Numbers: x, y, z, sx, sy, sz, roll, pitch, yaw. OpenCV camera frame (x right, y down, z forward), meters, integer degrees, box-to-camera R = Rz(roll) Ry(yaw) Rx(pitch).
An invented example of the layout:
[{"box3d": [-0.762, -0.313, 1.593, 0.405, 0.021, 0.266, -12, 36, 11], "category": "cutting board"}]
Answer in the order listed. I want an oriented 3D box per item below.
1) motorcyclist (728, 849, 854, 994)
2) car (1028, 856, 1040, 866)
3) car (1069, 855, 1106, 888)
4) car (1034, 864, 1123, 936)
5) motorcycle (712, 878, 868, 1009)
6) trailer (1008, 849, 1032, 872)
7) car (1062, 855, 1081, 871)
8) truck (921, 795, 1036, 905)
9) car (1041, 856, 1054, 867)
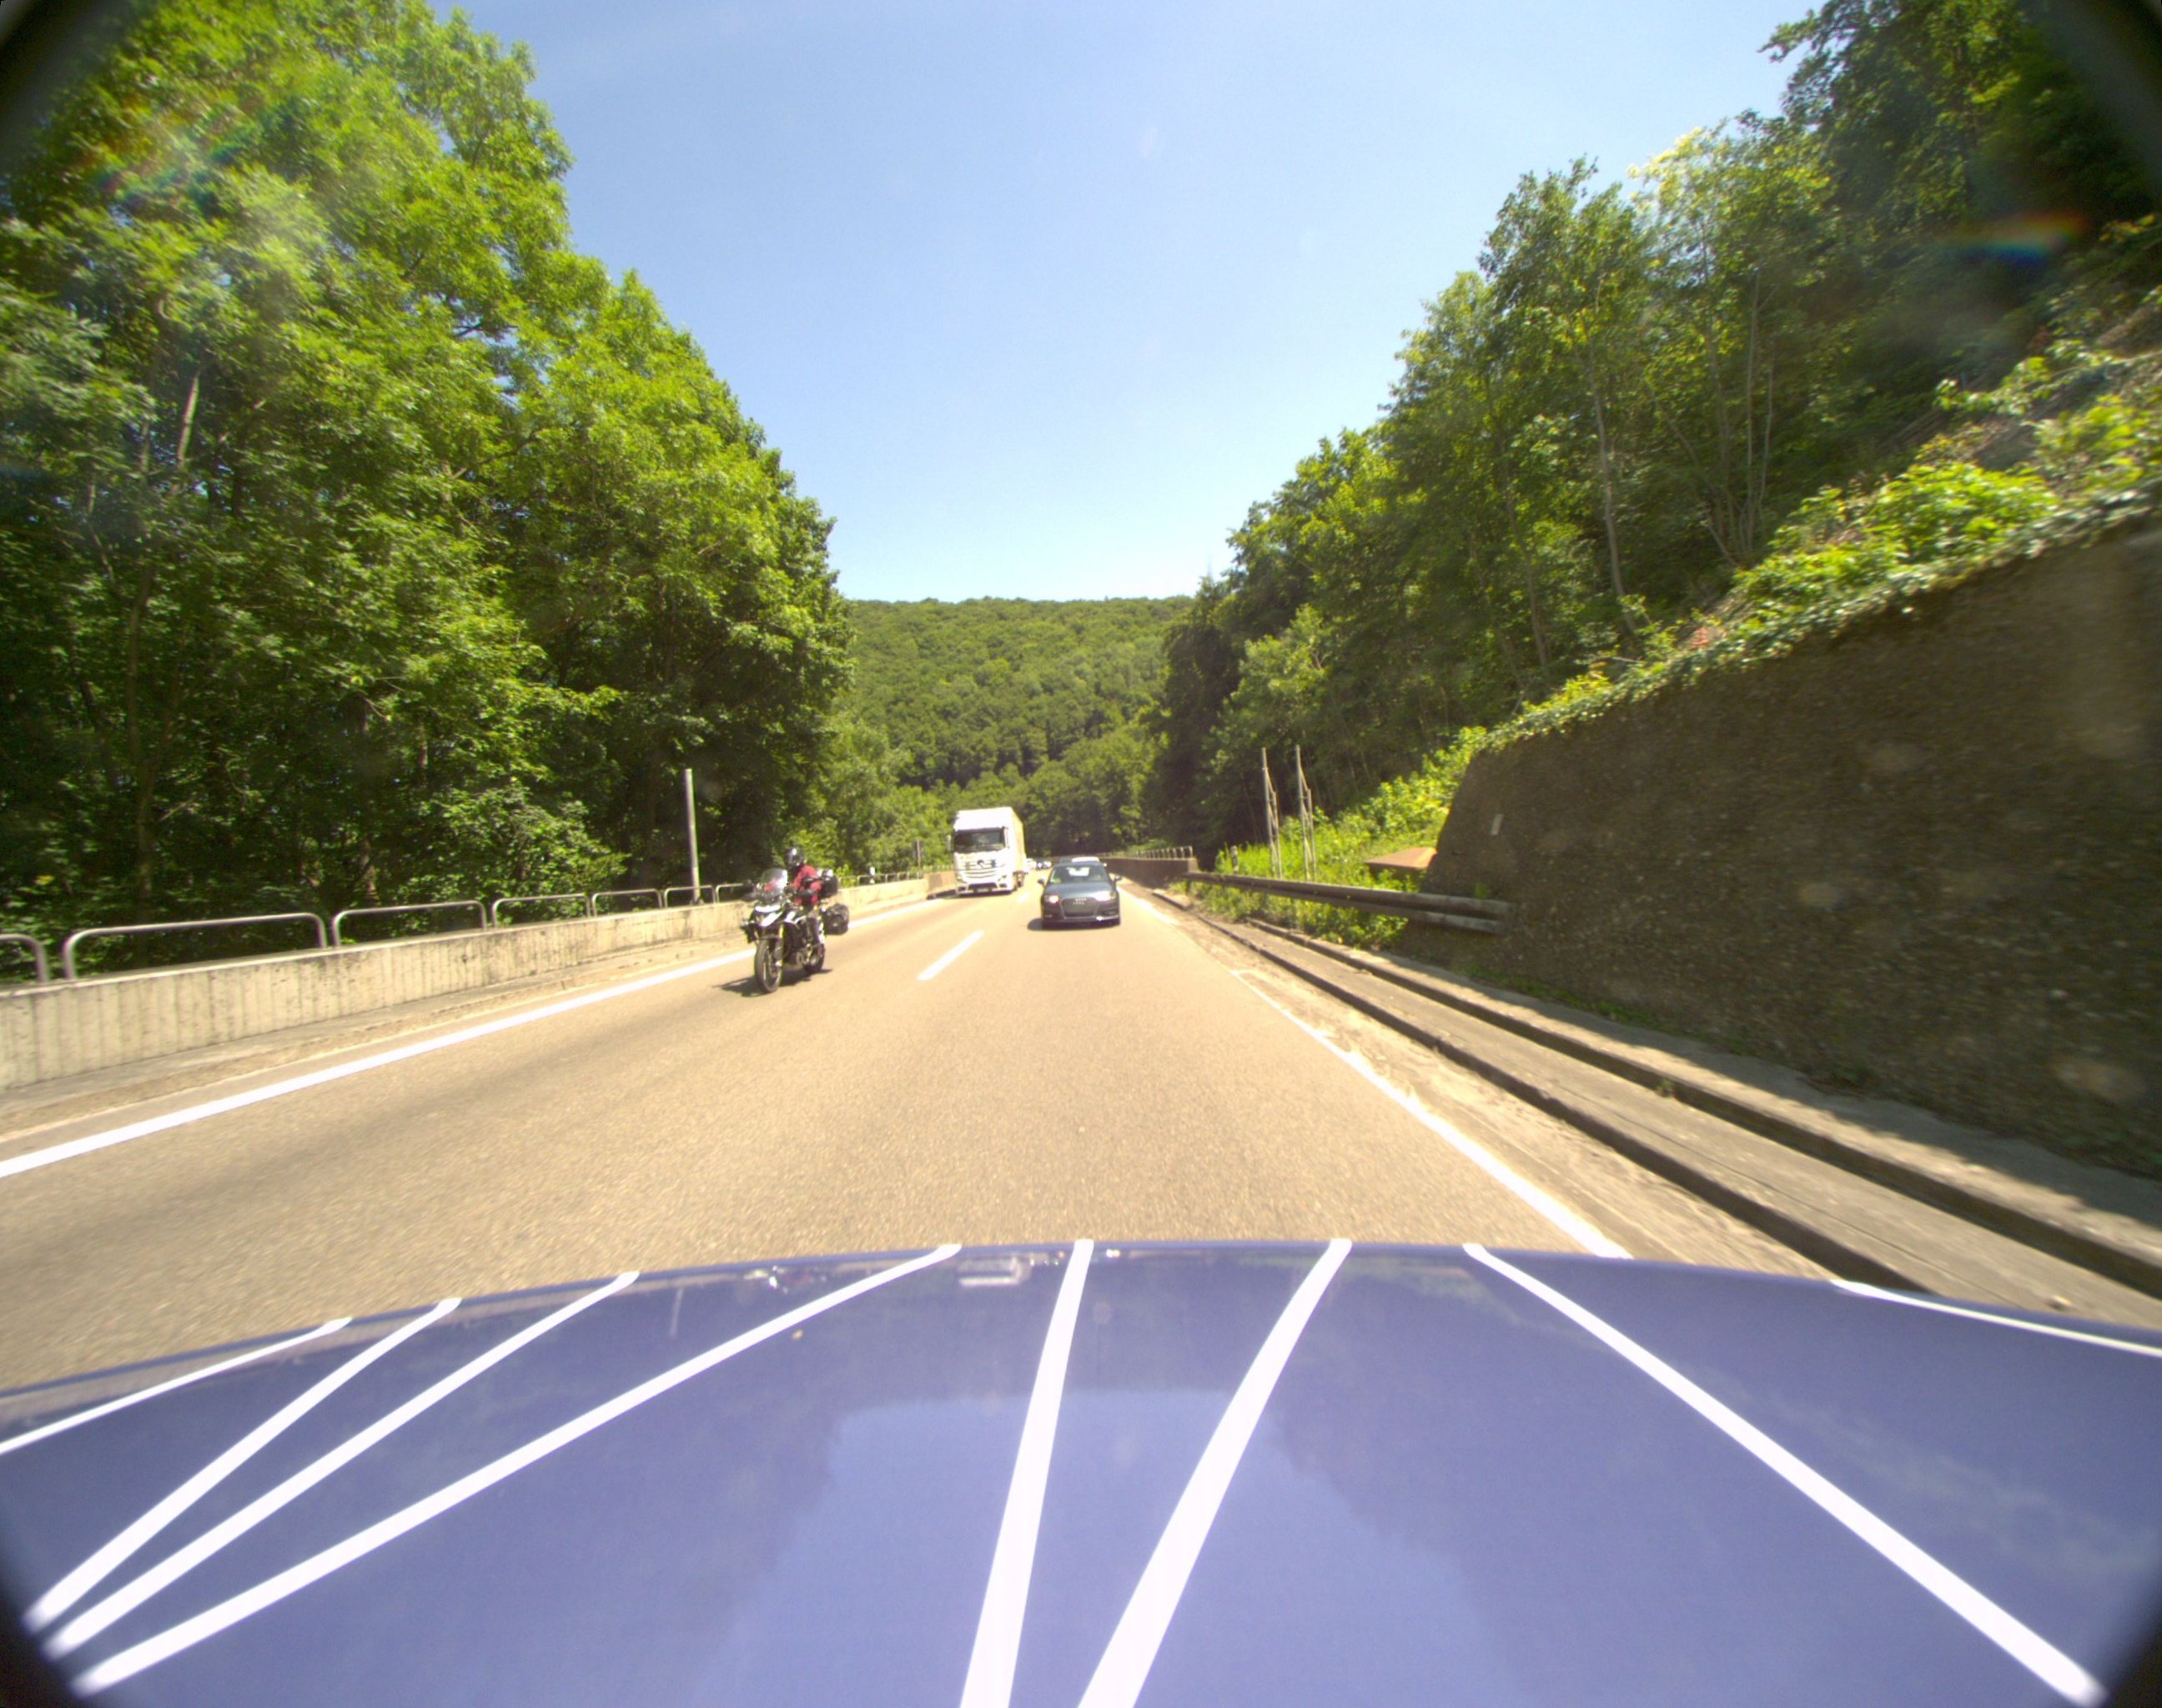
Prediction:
[{"box3d": [-3.839, 0.846, 10.201, 1.063, 1.790, 1.338, -2, 0, 1], "category": "motorcyclist"}, {"box3d": [-7.318, 1.051, 118.232, 1.619, 1.487, 3.654, -2, 0, -7], "category": "car"}, {"box3d": [0.361, 0.844, 38.436, 1.755, 1.460, 3.982, -2, 0, 1], "category": "car"}, {"box3d": [-0.107, 0.958, 17.517, 1.755, 1.350, 4.121, -2, 0, -1], "category": "car"}, {"box3d": [-3.818, 1.102, 10.318, 0.975, 1.411, 2.681, -2, 0, 1], "category": "motorcycle"}, {"box3d": [-7.668, 0.818, 96.626, 2.528, 2.694, 9.503, -1, 0, -1], "category": "trailer"}, {"box3d": [-1.002, 0.856, 77.113, 1.755, 1.480, 3.981, -2, 0, -1], "category": "car"}, {"box3d": [-4.560, -0.199, 38.352, 2.968, 4.108, 16.706, -5, 0, 1], "category": "truck"}, {"box3d": [-4.656, 1.005, 105.155, 1.619, 1.487, 3.654, -3, 0, -5], "category": "car"}]
